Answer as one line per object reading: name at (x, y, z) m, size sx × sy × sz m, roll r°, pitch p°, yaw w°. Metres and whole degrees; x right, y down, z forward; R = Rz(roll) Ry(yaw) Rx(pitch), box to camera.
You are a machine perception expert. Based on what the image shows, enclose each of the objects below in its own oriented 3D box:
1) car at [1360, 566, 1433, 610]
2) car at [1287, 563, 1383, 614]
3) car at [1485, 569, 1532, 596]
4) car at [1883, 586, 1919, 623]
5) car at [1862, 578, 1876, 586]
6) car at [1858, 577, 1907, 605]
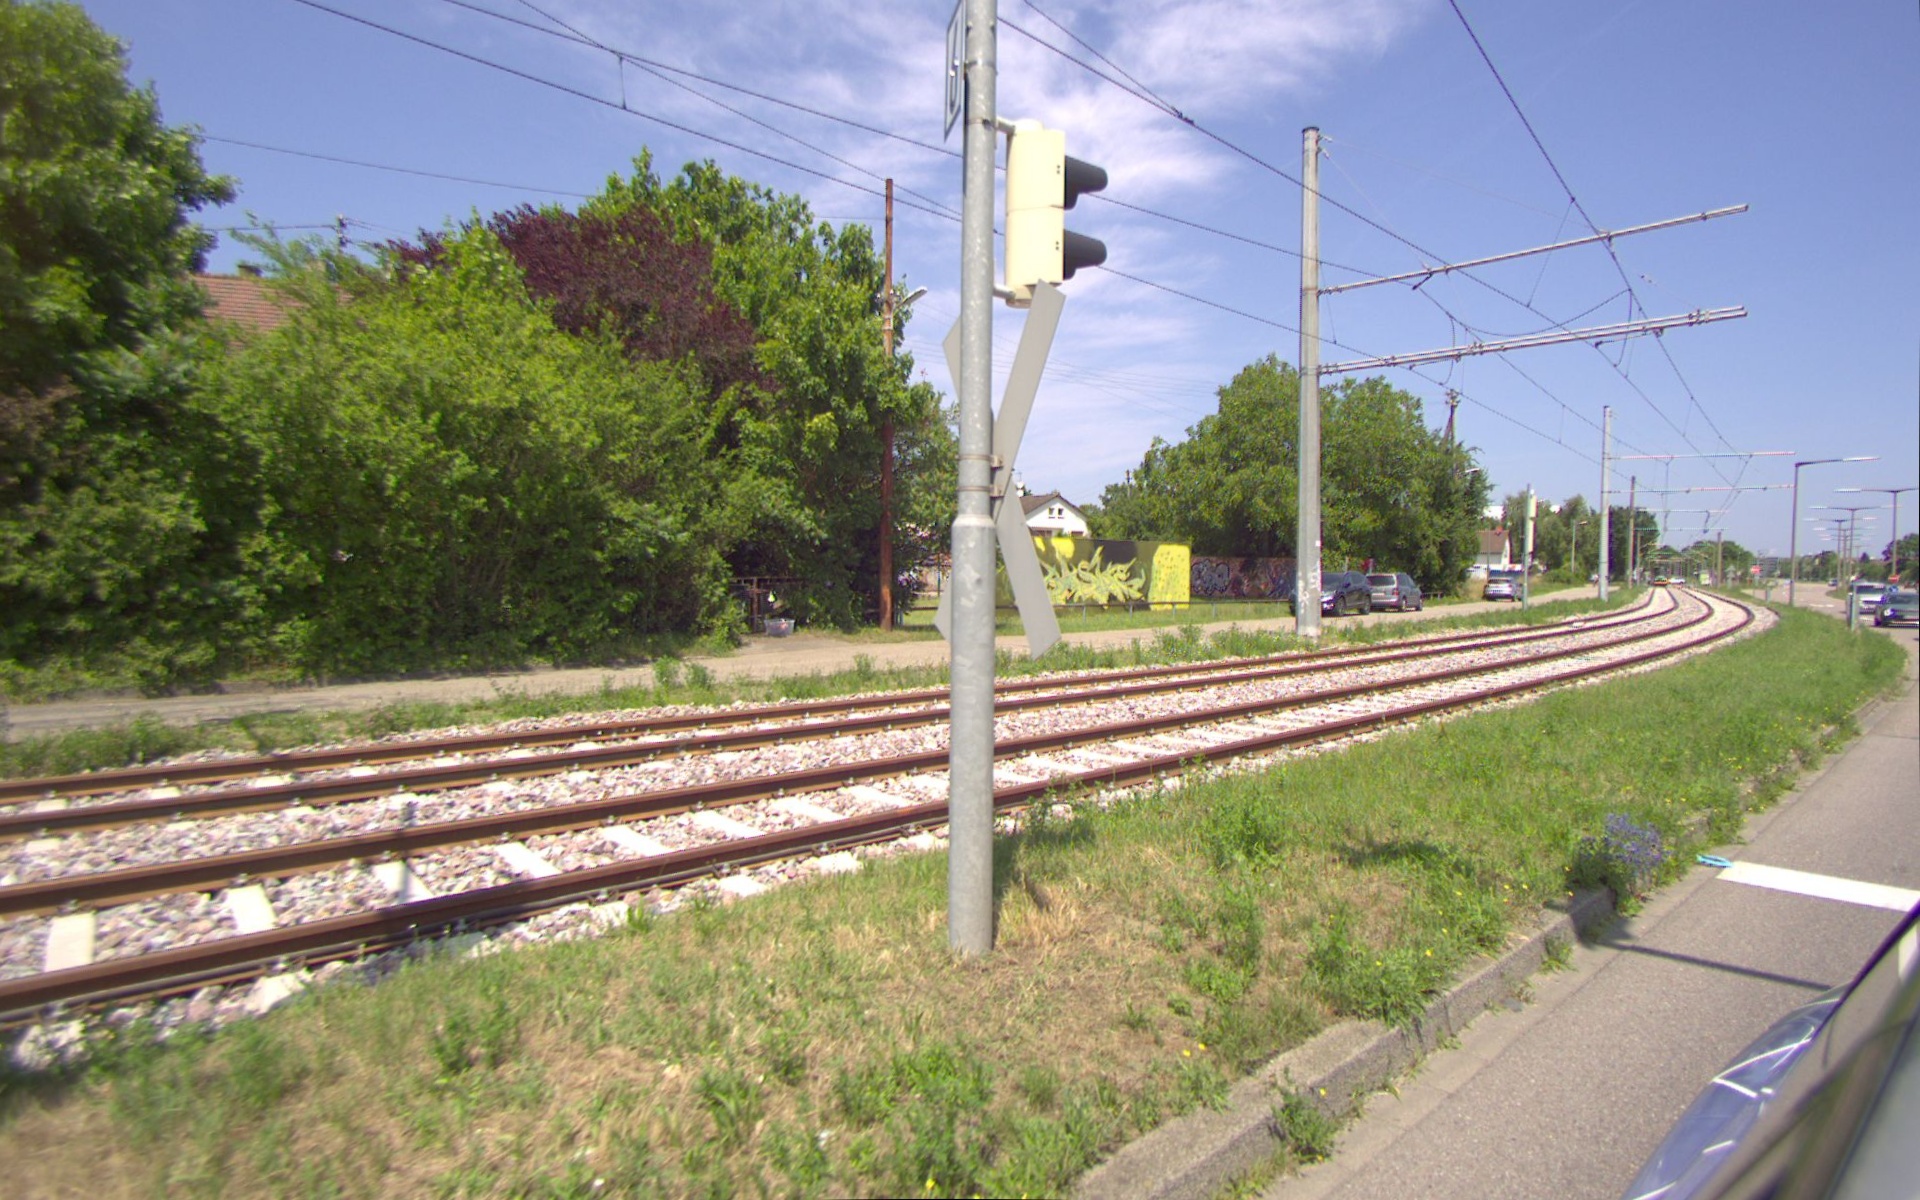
car at (18.317, -0.569, 42.333) m, size 1.673 × 1.644 × 4.648 m, roll 2°, pitch 4°, yaw 38°
car at (14.093, -0.492, 37.847) m, size 1.826 × 1.676 × 4.746 m, roll 2°, pitch 4°, yaw 41°
car at (32.588, -1.088, 60.074) m, size 1.678 × 1.431 × 4.487 m, roll 2°, pitch 4°, yaw 39°
car at (42.014, 0.177, 44.722) m, size 1.503 × 1.449 × 3.313 m, roll 2°, pitch 4°, yaw 38°
car at (166.312, -3.343, 185.121) m, size 1.611 × 1.411 × 3.554 m, roll 2°, pitch 4°, yaw 37°
car at (55.912, -0.582, 61.383) m, size 1.801 × 1.492 × 3.466 m, roll 2°, pitch 4°, yaw 37°
